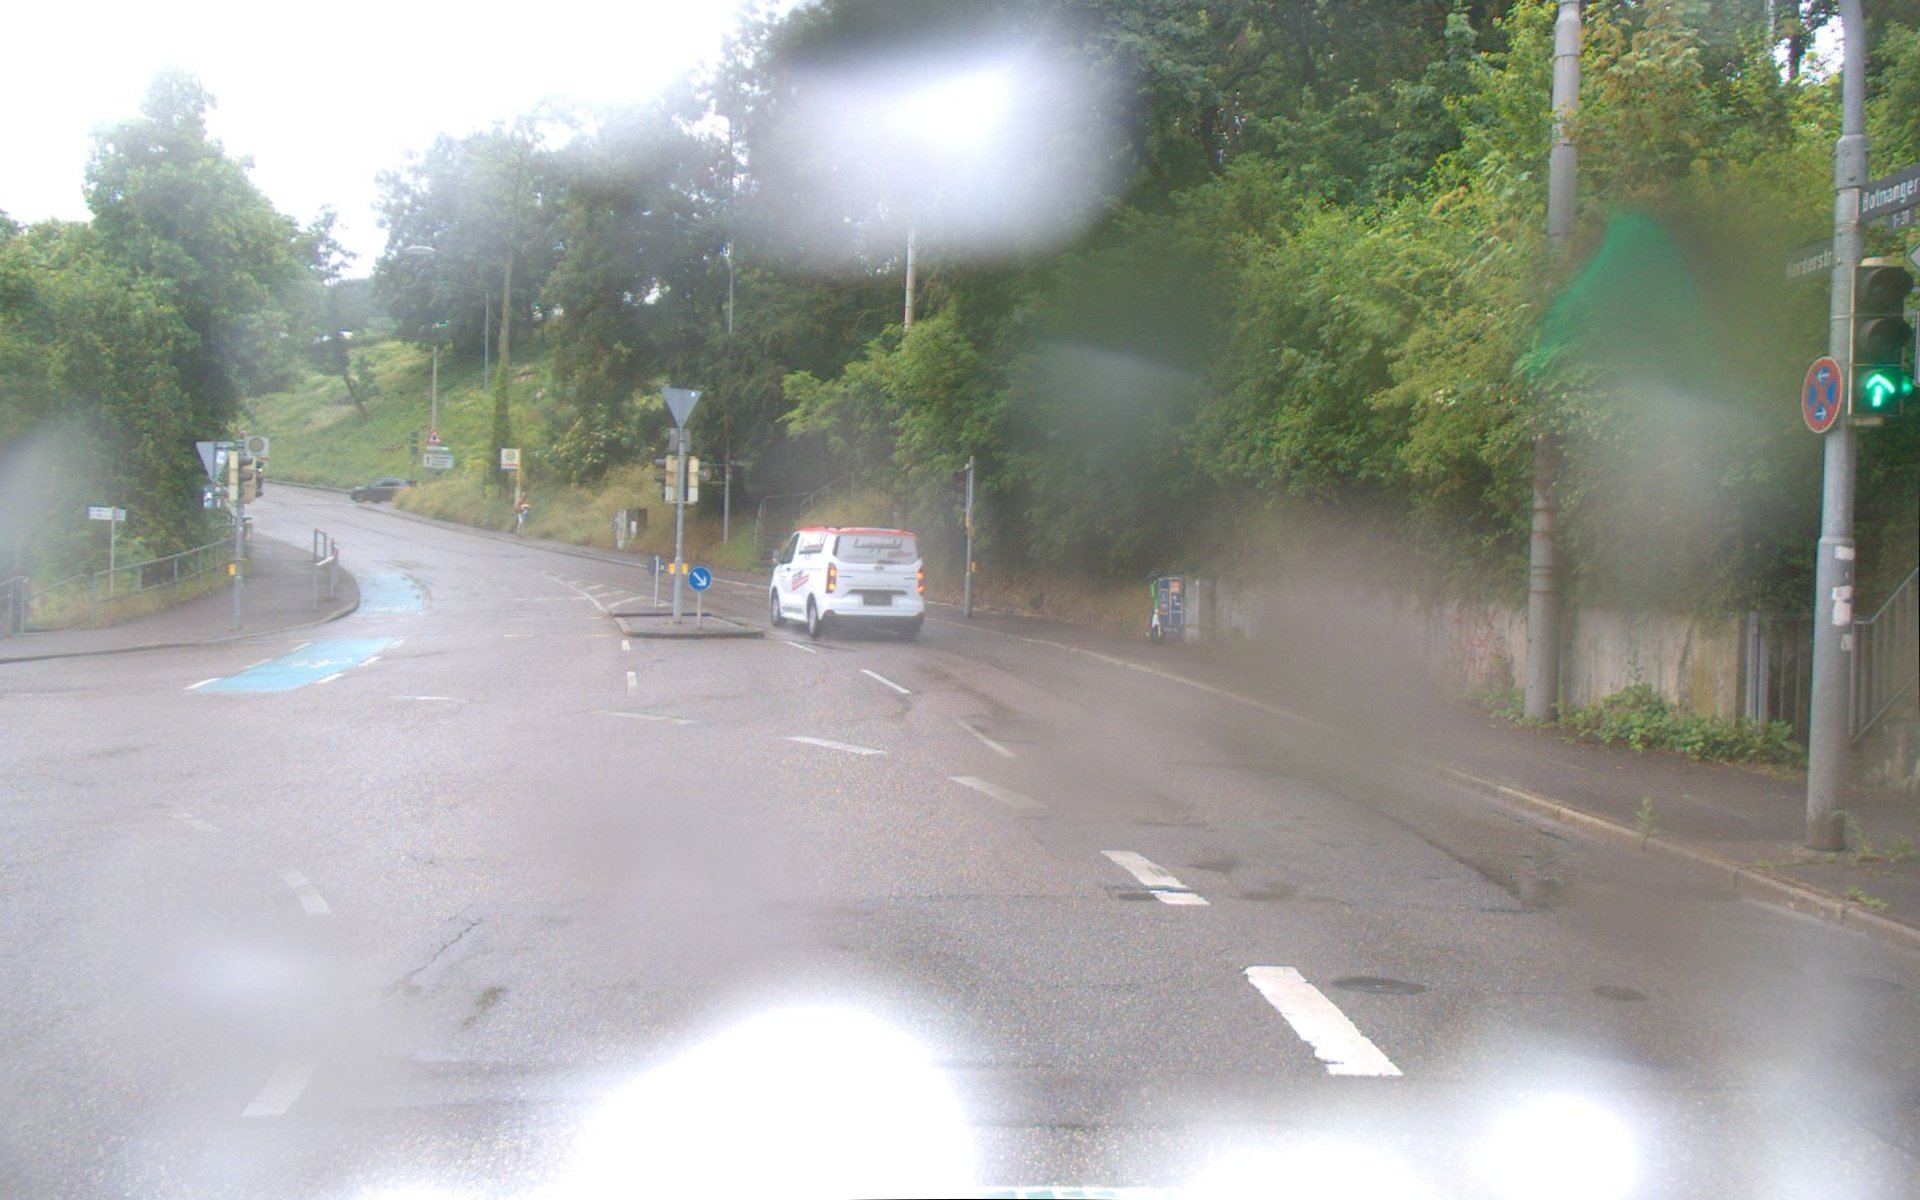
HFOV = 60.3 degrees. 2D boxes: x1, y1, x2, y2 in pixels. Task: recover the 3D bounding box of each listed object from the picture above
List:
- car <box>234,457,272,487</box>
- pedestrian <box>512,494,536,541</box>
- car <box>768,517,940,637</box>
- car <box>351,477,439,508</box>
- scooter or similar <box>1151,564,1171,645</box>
[{"bbox_3d":[-46.543,-8.416,108.867,1.897,1.811,3.963,1,2,-29],"label":"car"},{"bbox_3d":[-17.179,-3.247,65.136,0.867,1.767,0.861,1,-1,-18],"label":"pedestrian"},{"bbox_3d":[-2.086,-0.443,30.883,2.034,2.041,4.789,1,1,-19],"label":"car"},{"bbox_3d":[-32.002,-6.078,93.775,4.296,1.538,1.965,3,3,12],"label":"car"},{"bbox_3d":[3.353,0.062,27.576,0.315,1.302,0.752,0,3,6],"label":"scooter or similar"}]
